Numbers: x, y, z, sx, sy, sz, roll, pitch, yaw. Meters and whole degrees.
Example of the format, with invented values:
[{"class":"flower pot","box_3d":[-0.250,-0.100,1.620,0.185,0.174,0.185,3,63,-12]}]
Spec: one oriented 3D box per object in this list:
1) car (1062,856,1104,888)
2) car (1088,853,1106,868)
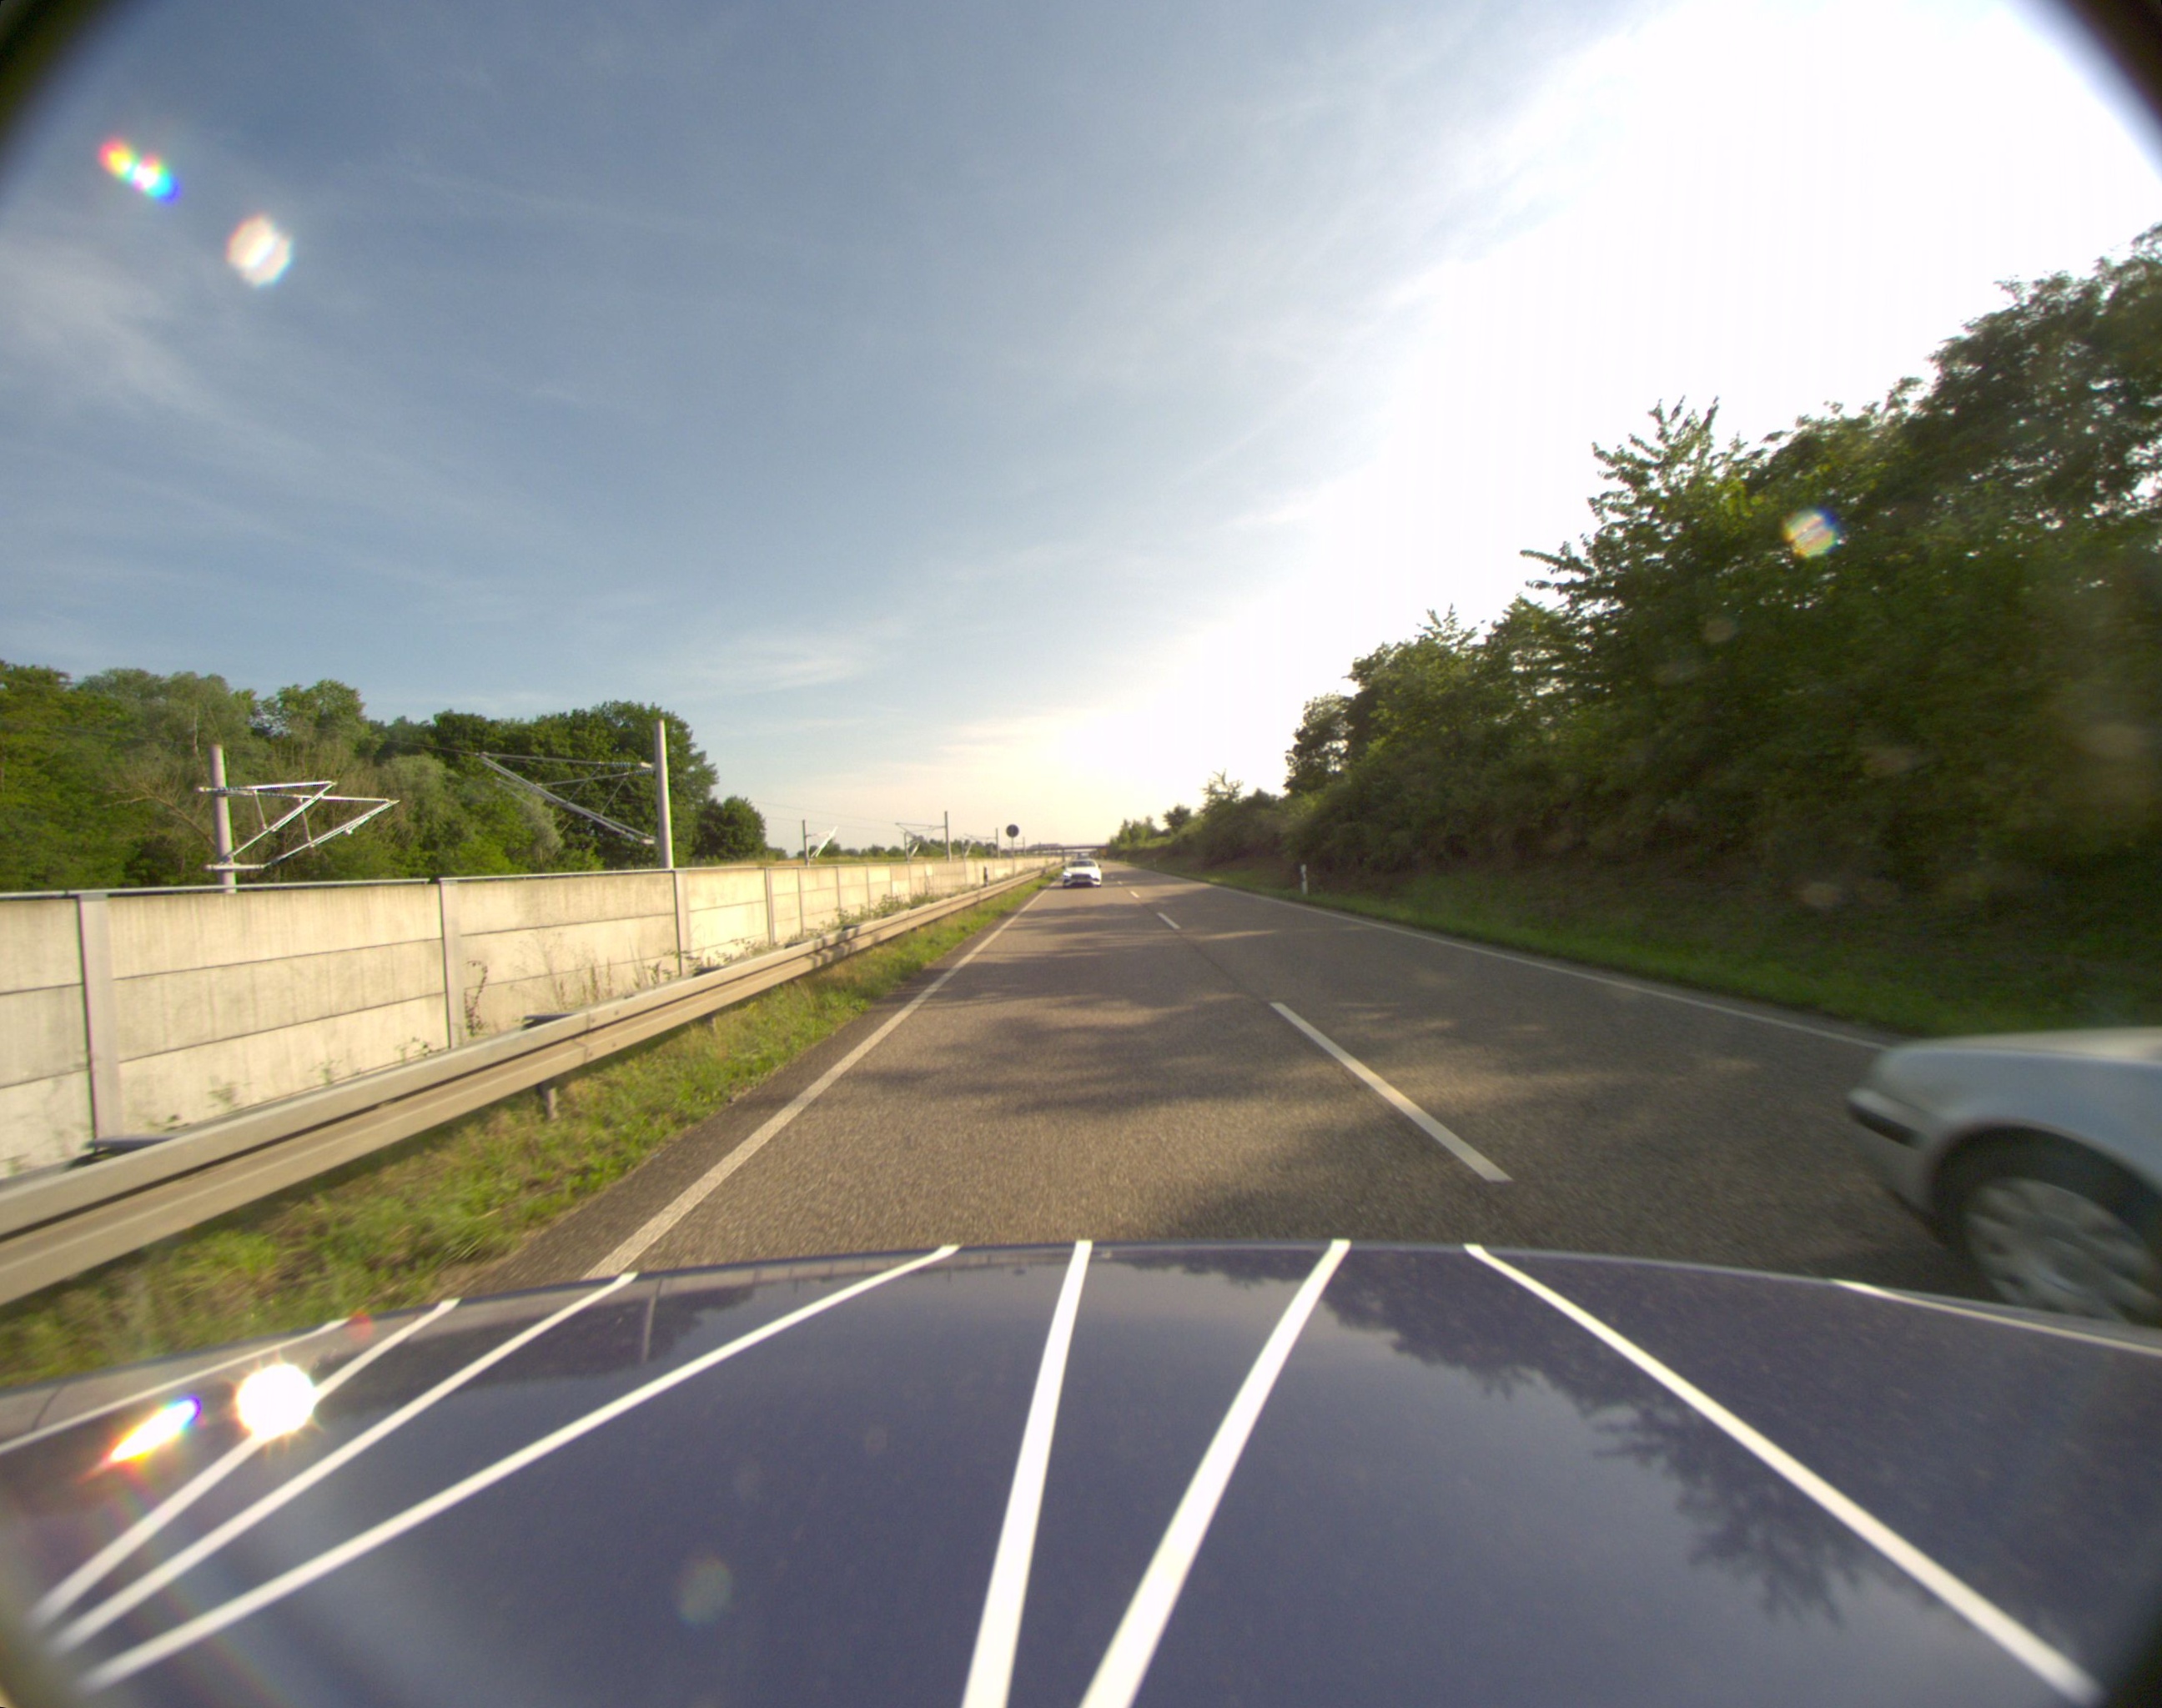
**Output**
[{"class":"car","box_3d":[0.123,0.851,38.580,1.953,1.430,4.611,-2,0,1]},{"class":"car","box_3d":[1.749,0.697,84.797,1.953,1.430,4.611,-4,0,1]}]
